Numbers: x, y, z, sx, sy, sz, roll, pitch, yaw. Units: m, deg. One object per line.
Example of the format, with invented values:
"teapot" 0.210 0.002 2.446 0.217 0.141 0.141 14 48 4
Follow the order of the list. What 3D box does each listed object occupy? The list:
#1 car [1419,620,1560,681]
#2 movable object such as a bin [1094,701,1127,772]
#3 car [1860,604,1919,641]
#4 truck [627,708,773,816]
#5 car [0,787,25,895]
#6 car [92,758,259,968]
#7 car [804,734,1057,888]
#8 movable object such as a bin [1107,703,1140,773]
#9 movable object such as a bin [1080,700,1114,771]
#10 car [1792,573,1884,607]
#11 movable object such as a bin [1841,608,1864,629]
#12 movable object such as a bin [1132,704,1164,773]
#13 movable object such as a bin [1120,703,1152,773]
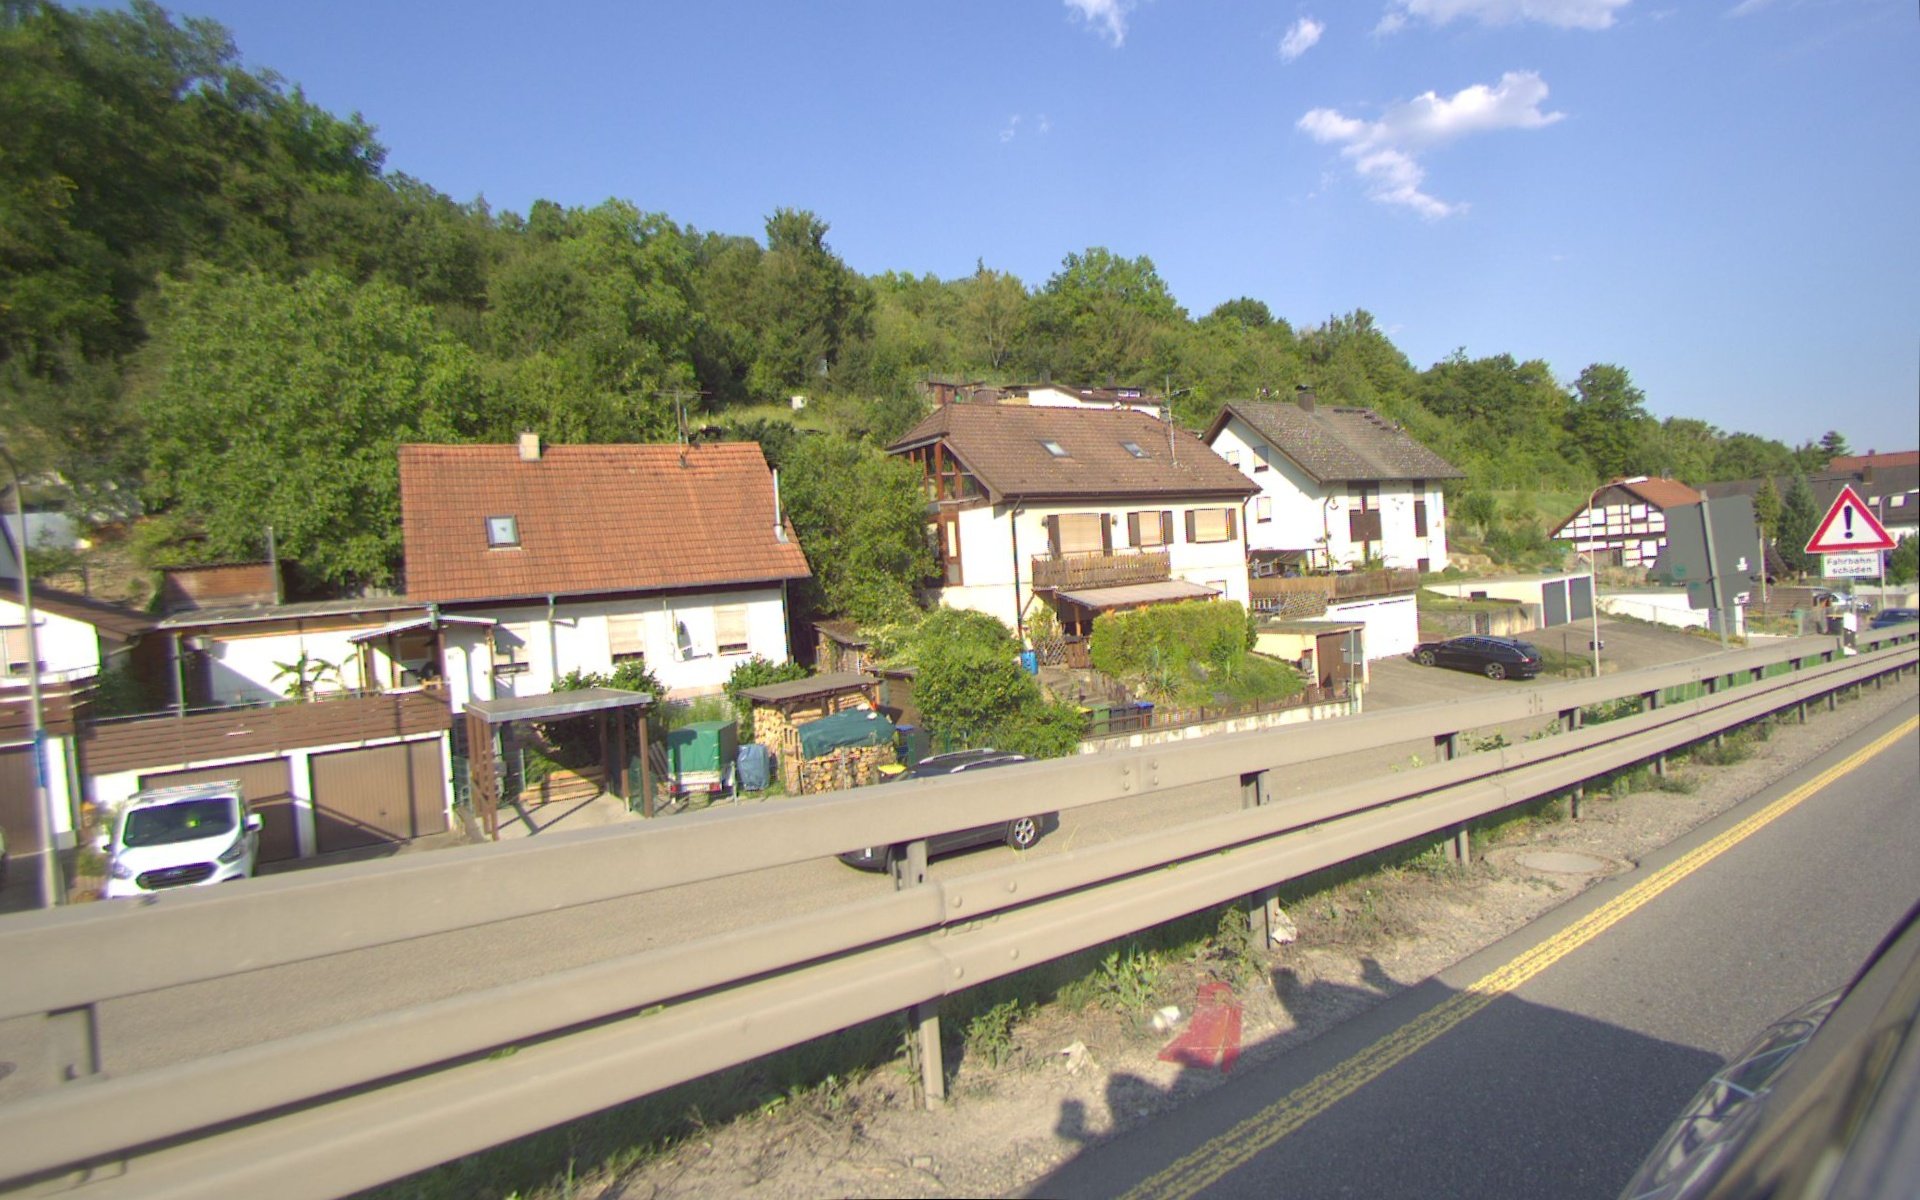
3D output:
"car" 20.907 1.929 40.151 1.962 1.542 4.516 -4 9 -32
"movable object such as a bin" 3.943 3.597 26.586 0.400 1.794 0.537 -3 -8 -29
"car" 45.831 1.116 49.156 3.542 1.620 1.774 1 -7 -25
"truck" -6.091 3.770 24.228 1.966 1.759 3.993 -7 -1 6
"car" -17.290 4.427 16.872 1.683 1.576 5.108 -3 2 -34
"car" -14.070 4.503 18.452 1.962 2.292 5.485 -3 1 -34
"car" -0.505 3.826 19.106 4.413 1.806 1.869 -4 3 -33
"movable object such as a bin" 4.325 3.660 26.787 0.406 1.794 0.491 -3 -8 -29
"movable object such as a bin" 3.563 3.534 26.394 0.408 1.794 0.531 -3 -8 -29
"car" 54.214 -0.669 62.550 1.718 1.860 4.001 -3 5 -35
"movable object such as a bin" 45.934 0.956 52.071 0.665 1.013 0.724 -2 -1 -36
"movable object such as a bin" 5.049 3.716 27.184 0.406 1.794 0.491 -3 -8 -29
"movable object such as a bin" 4.688 3.676 26.972 0.406 1.794 0.491 -3 -8 -29
